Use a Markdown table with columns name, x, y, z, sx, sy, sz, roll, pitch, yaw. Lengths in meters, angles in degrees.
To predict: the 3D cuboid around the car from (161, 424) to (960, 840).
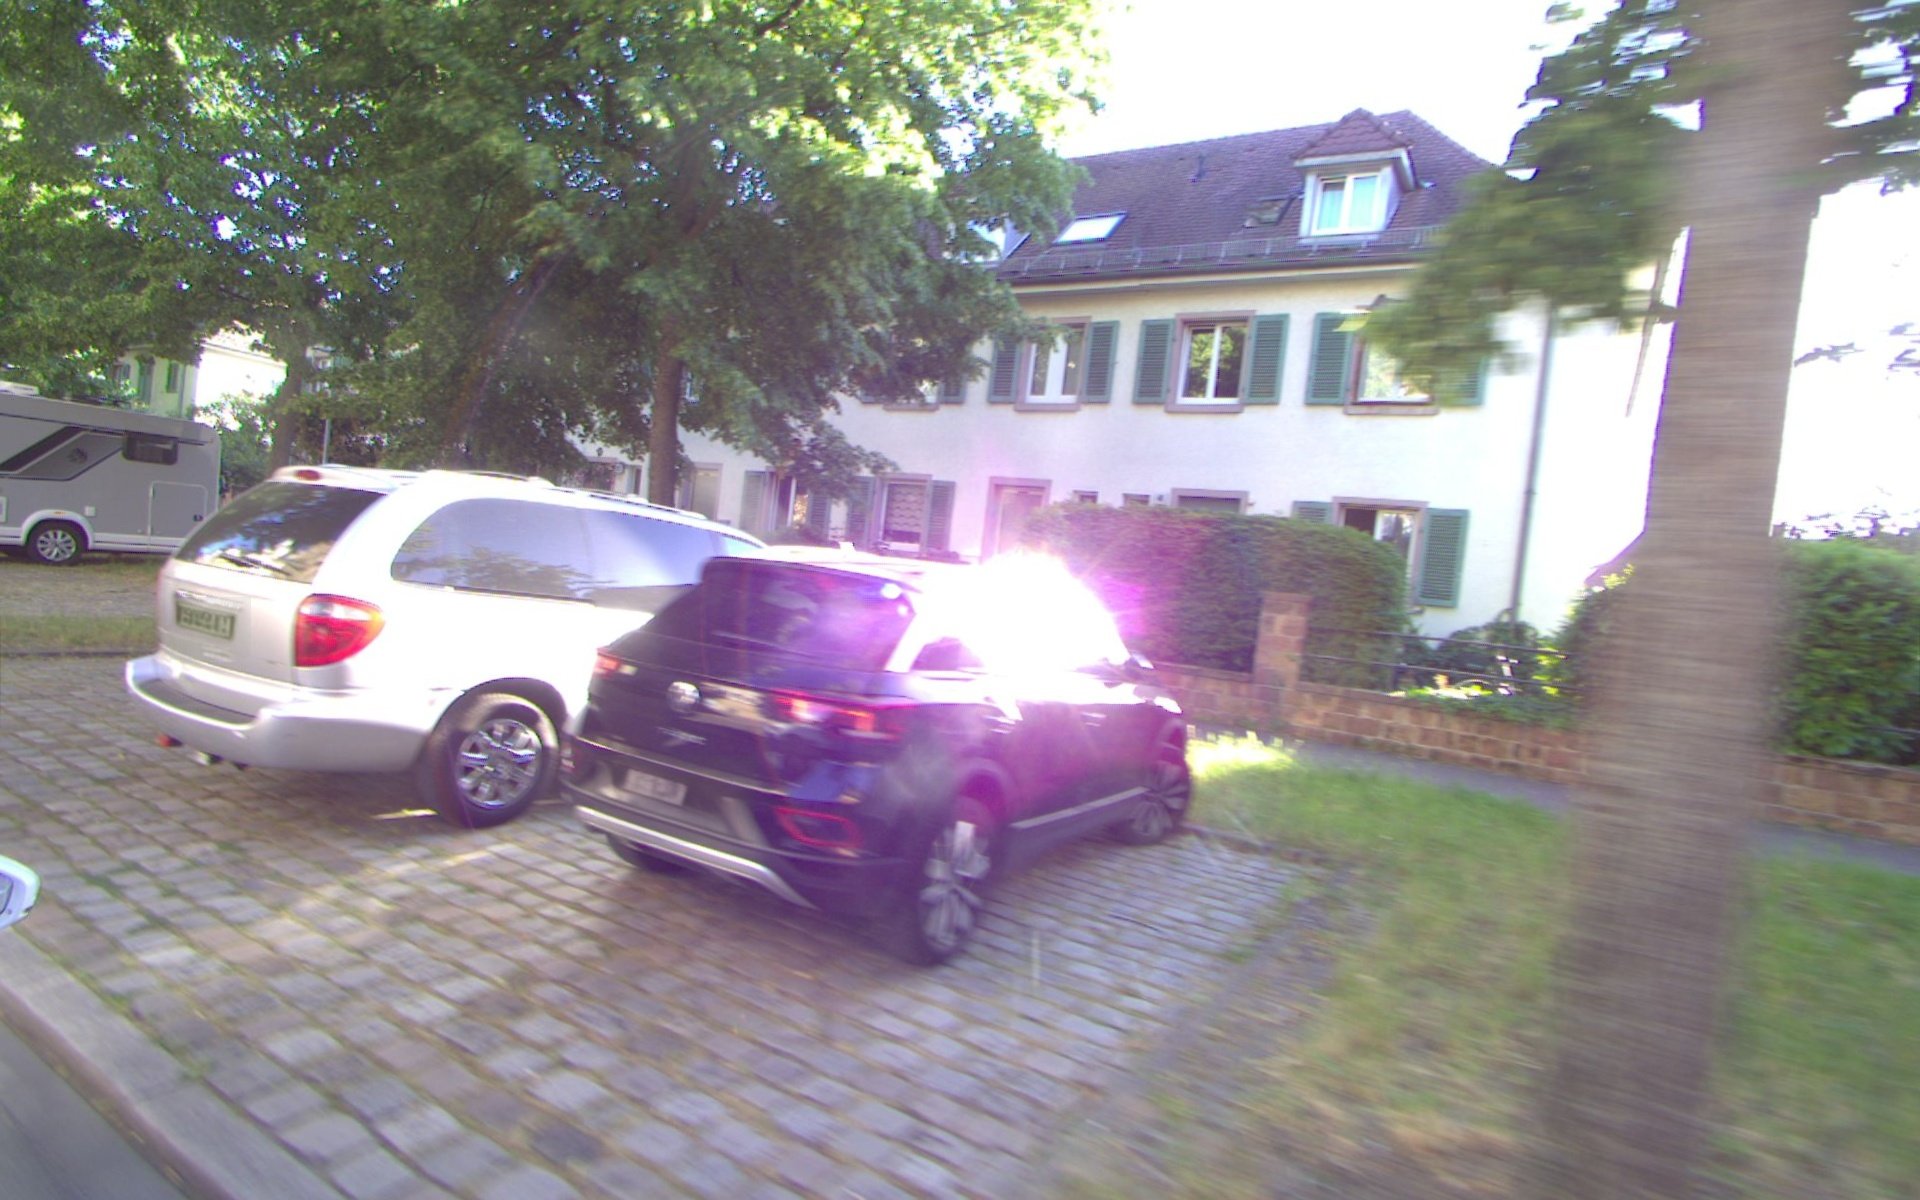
| name | x | y | z | sx | sy | sz | roll | pitch | yaw |
| --- | --- | --- | --- | --- | --- | --- | --- | --- | --- |
| car | -2.083 | 0.119 | 6.633 | 1.803 | 1.732 | 4.618 | 8 | 3 | 33 |

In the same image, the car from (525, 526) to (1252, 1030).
| name | x | y | z | sx | sy | sz | roll | pitch | yaw |
| --- | --- | --- | --- | --- | --- | --- | --- | --- | --- |
| car | 0.055 | 0.560 | 5.364 | 1.666 | 1.497 | 4.065 | 8 | 4 | 32 |

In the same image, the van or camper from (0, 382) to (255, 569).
| name | x | y | z | sx | sy | sz | roll | pitch | yaw |
| --- | --- | --- | --- | --- | --- | --- | --- | --- | --- |
| van or camper | -15.518 | -2.041 | 15.547 | 2.424 | 2.684 | 7.141 | 8 | 4 | 33 |
